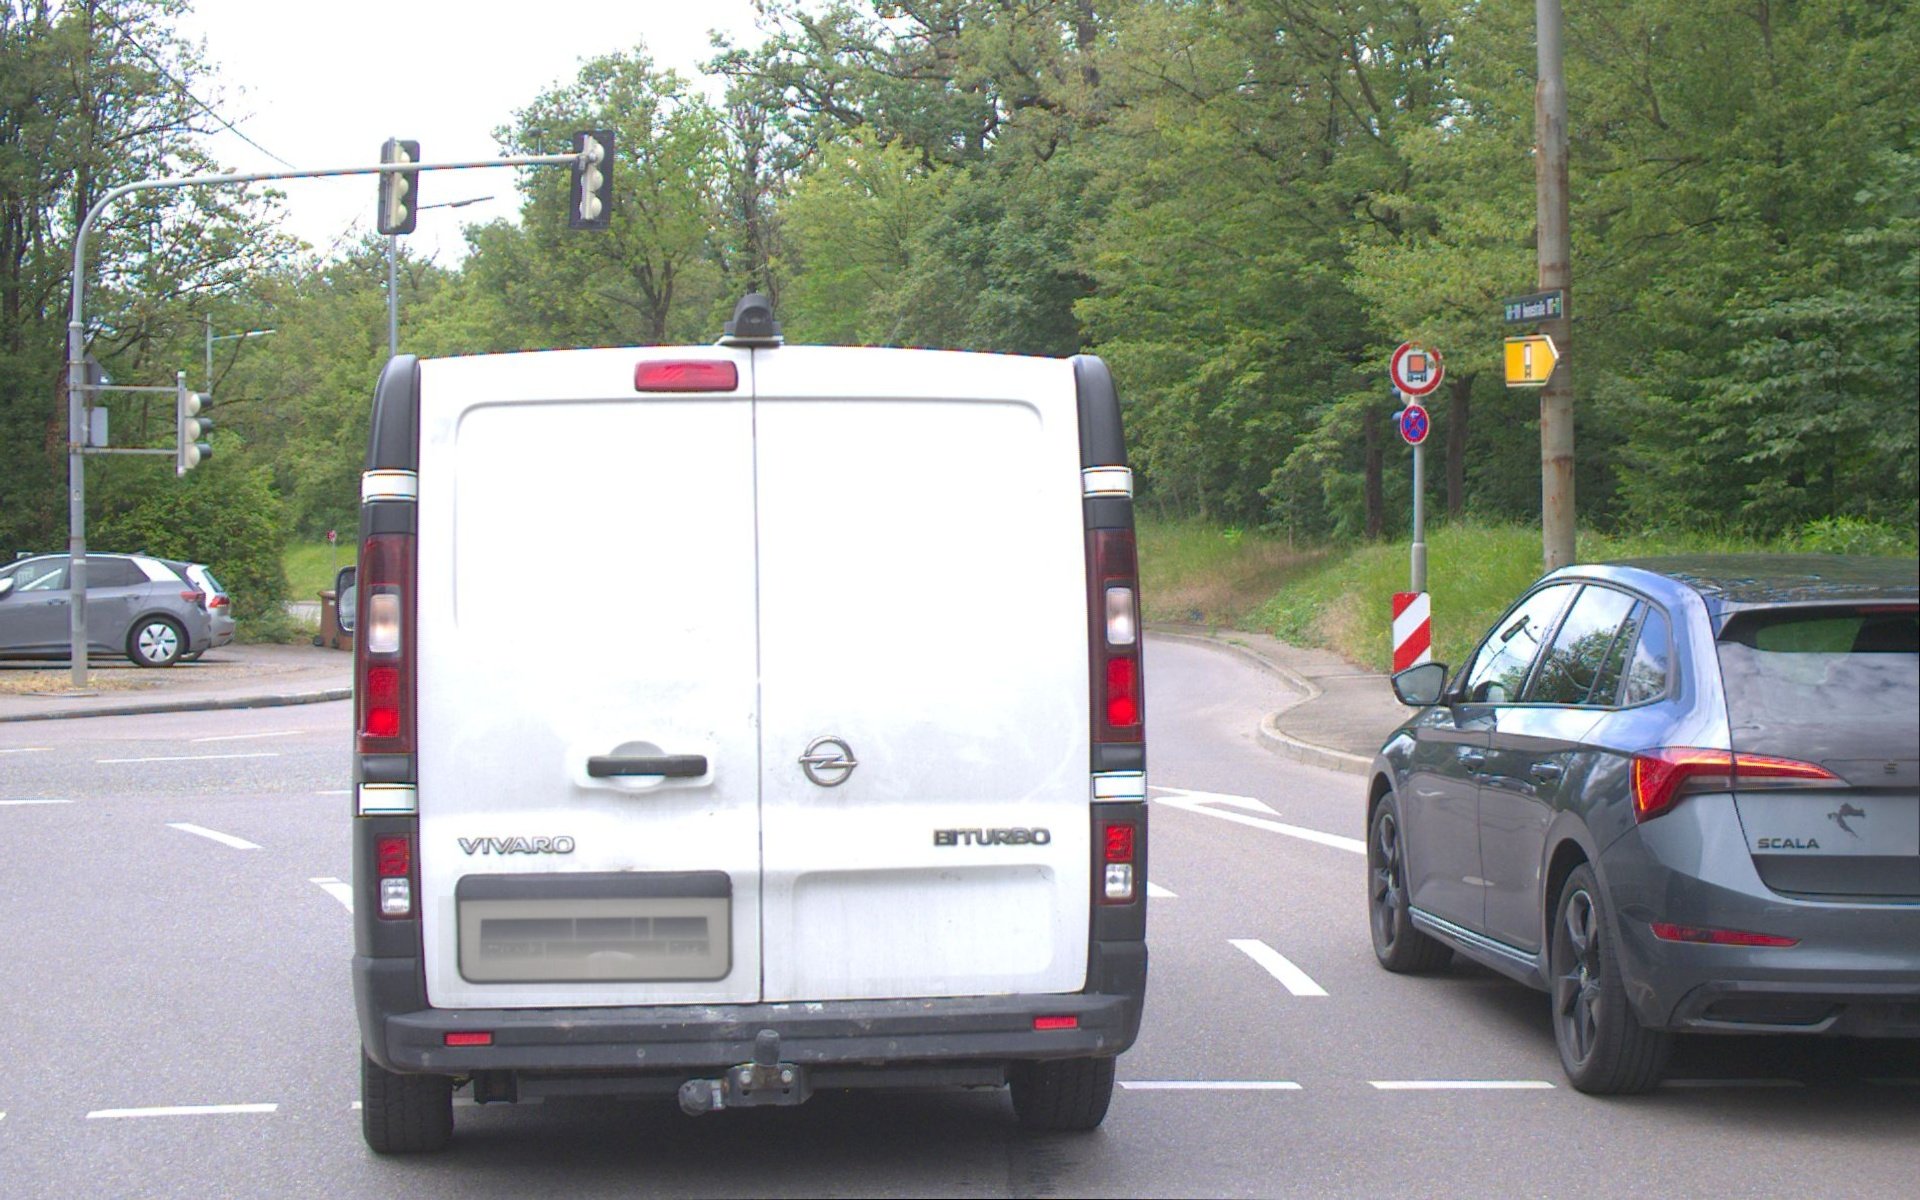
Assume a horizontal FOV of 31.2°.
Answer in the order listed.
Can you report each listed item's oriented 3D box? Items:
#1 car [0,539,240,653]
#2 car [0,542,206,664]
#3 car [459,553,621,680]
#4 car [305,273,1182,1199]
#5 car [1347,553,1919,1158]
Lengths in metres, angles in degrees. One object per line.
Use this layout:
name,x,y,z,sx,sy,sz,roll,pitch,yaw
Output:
car,-12.374,-0.072,48.769,4.085,1.548,1.855,0,2,-17
car,-12.183,0.022,45.733,4.085,1.548,1.855,0,2,-17
car,-5.276,0.172,43.553,1.856,1.501,4.001,0,1,-4
car,-0.744,0.258,9.841,1.916,2.046,4.615,0,1,-7
car,2.419,0.597,10.412,1.792,1.445,4.001,0,1,-4
